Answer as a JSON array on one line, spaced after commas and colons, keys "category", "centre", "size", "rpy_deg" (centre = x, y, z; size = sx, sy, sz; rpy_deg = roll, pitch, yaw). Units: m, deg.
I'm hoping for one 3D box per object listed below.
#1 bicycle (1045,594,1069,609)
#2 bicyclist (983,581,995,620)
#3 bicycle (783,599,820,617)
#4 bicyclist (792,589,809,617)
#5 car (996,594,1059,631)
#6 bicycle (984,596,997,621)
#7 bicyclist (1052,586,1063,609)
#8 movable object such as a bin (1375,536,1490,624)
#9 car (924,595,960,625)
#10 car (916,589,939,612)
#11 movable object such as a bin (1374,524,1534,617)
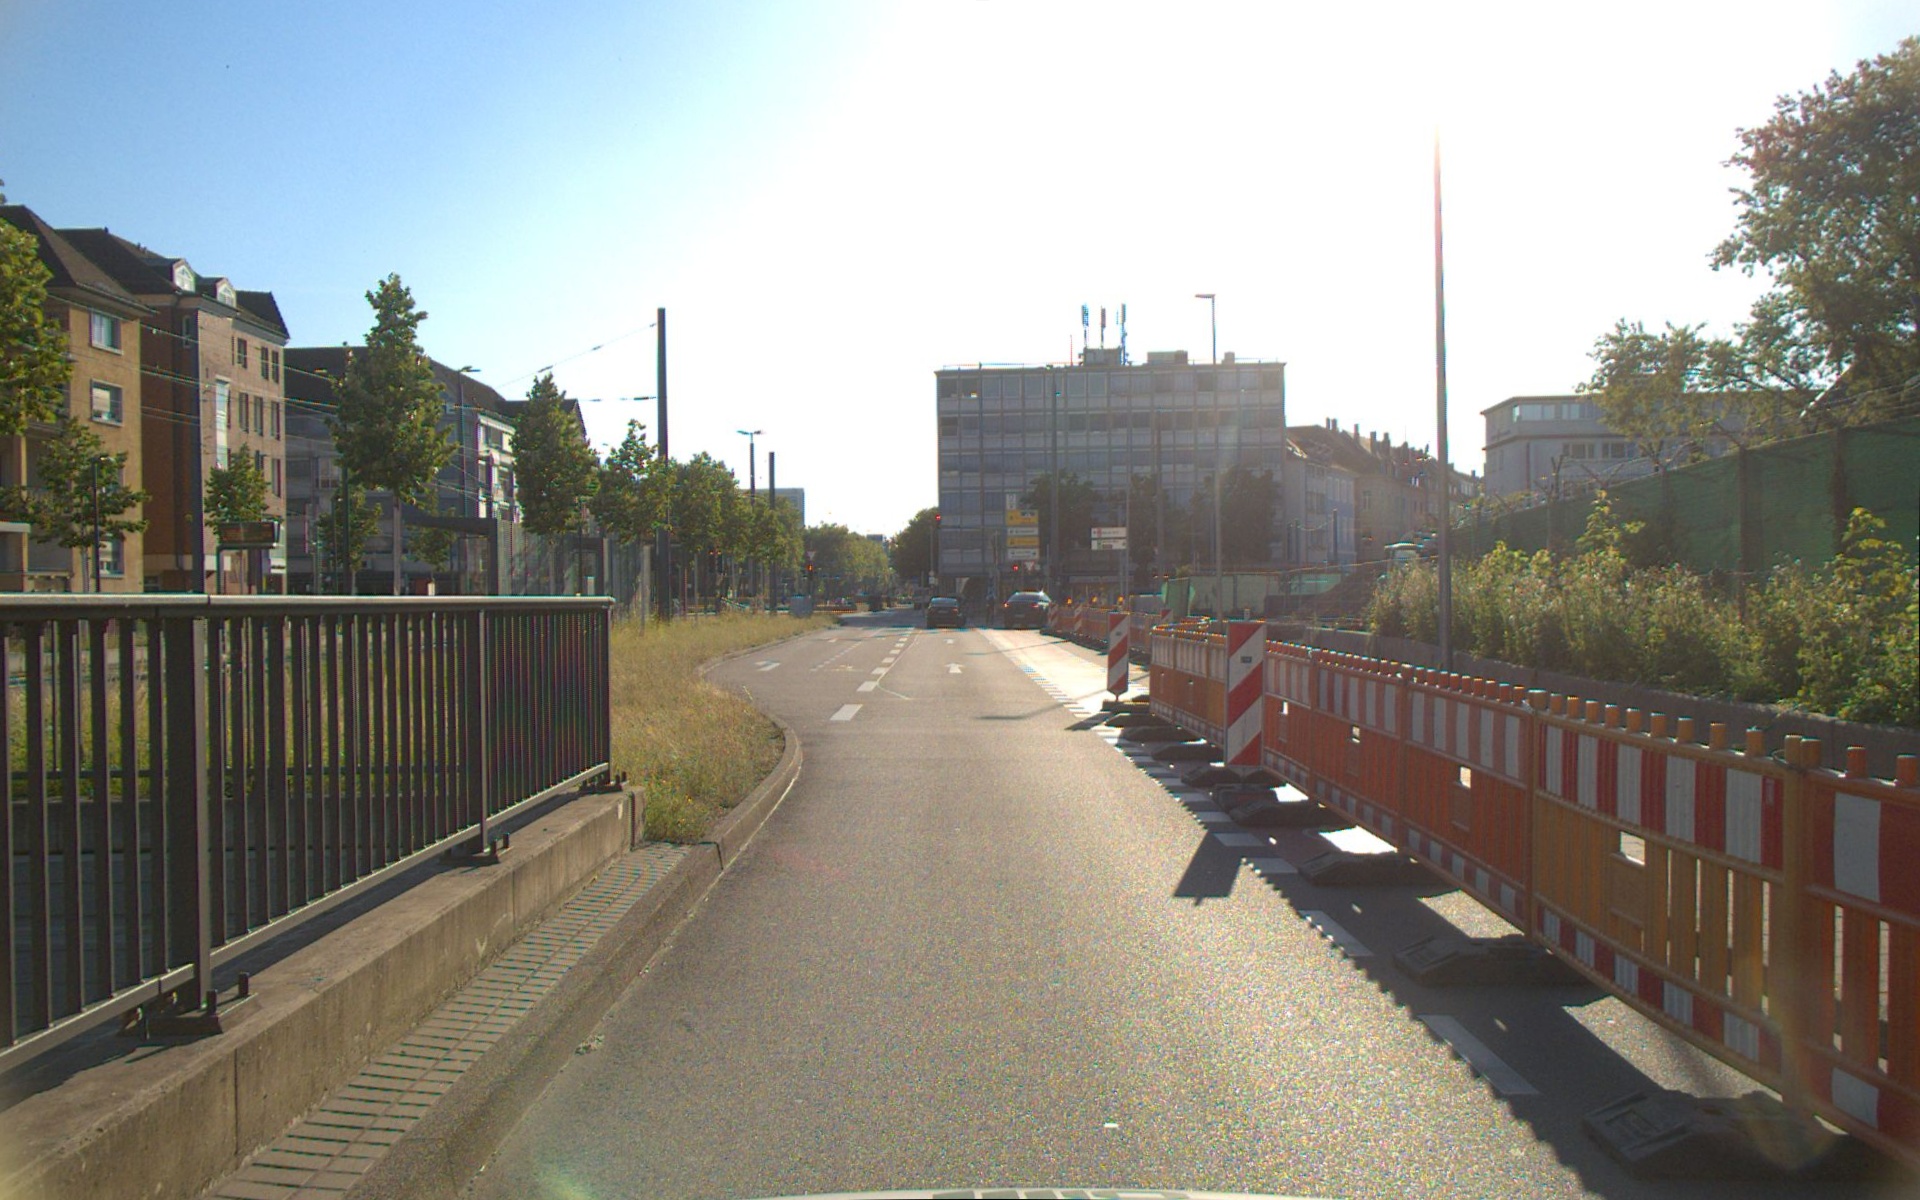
[{"category": "bicycle", "centre": [7.278, 0.140, 124.156], "size": [1.744, 1.091, 0.533], "rpy_deg": [-1, 0, -11]}, {"category": "bicyclist", "centre": [1.547, 0.031, 88.180], "size": [0.630, 2.048, 1.067], "rpy_deg": [1, 2, -1]}, {"category": "bicycle", "centre": [-9.678, 0.491, 101.130], "size": [2.180, 1.044, 0.682], "rpy_deg": [-1, 0, 2]}, {"category": "bicyclist", "centre": [-9.735, 0.168, 101.133], "size": [0.939, 1.690, 0.691], "rpy_deg": [-1, 0, 2]}, {"category": "car", "centre": [3.363, 0.583, 81.657], "size": [1.952, 1.723, 4.001], "rpy_deg": [1, 1, 21]}, {"category": "bicycle", "centre": [1.641, 0.441, 88.183], "size": [0.631, 1.244, 2.048], "rpy_deg": [1, 2, 0]}, {"category": "bicyclist", "centre": [7.340, -0.188, 124.174], "size": [0.651, 1.742, 0.537], "rpy_deg": [-1, 0, -11]}, {"category": "movable object such as a bin", "centre": [15.518, -0.632, 54.611], "size": [2.230, 2.751, 4.941], "rpy_deg": [-1, 0, -1]}, {"category": "car", "centre": [-0.896, 0.484, 81.481], "size": [1.708, 1.451, 3.999], "rpy_deg": [-1, 0, -1]}, {"category": "car", "centre": [-3.712, 0.040, 185.876], "size": [2.436, 2.434, 5.932], "rpy_deg": [-3, 0, -2]}, {"category": "movable object such as a bin", "centre": [20.283, -1.162, 67.908], "size": [5.939, 3.620, 2.860], "rpy_deg": [-1, 0, 24]}]
